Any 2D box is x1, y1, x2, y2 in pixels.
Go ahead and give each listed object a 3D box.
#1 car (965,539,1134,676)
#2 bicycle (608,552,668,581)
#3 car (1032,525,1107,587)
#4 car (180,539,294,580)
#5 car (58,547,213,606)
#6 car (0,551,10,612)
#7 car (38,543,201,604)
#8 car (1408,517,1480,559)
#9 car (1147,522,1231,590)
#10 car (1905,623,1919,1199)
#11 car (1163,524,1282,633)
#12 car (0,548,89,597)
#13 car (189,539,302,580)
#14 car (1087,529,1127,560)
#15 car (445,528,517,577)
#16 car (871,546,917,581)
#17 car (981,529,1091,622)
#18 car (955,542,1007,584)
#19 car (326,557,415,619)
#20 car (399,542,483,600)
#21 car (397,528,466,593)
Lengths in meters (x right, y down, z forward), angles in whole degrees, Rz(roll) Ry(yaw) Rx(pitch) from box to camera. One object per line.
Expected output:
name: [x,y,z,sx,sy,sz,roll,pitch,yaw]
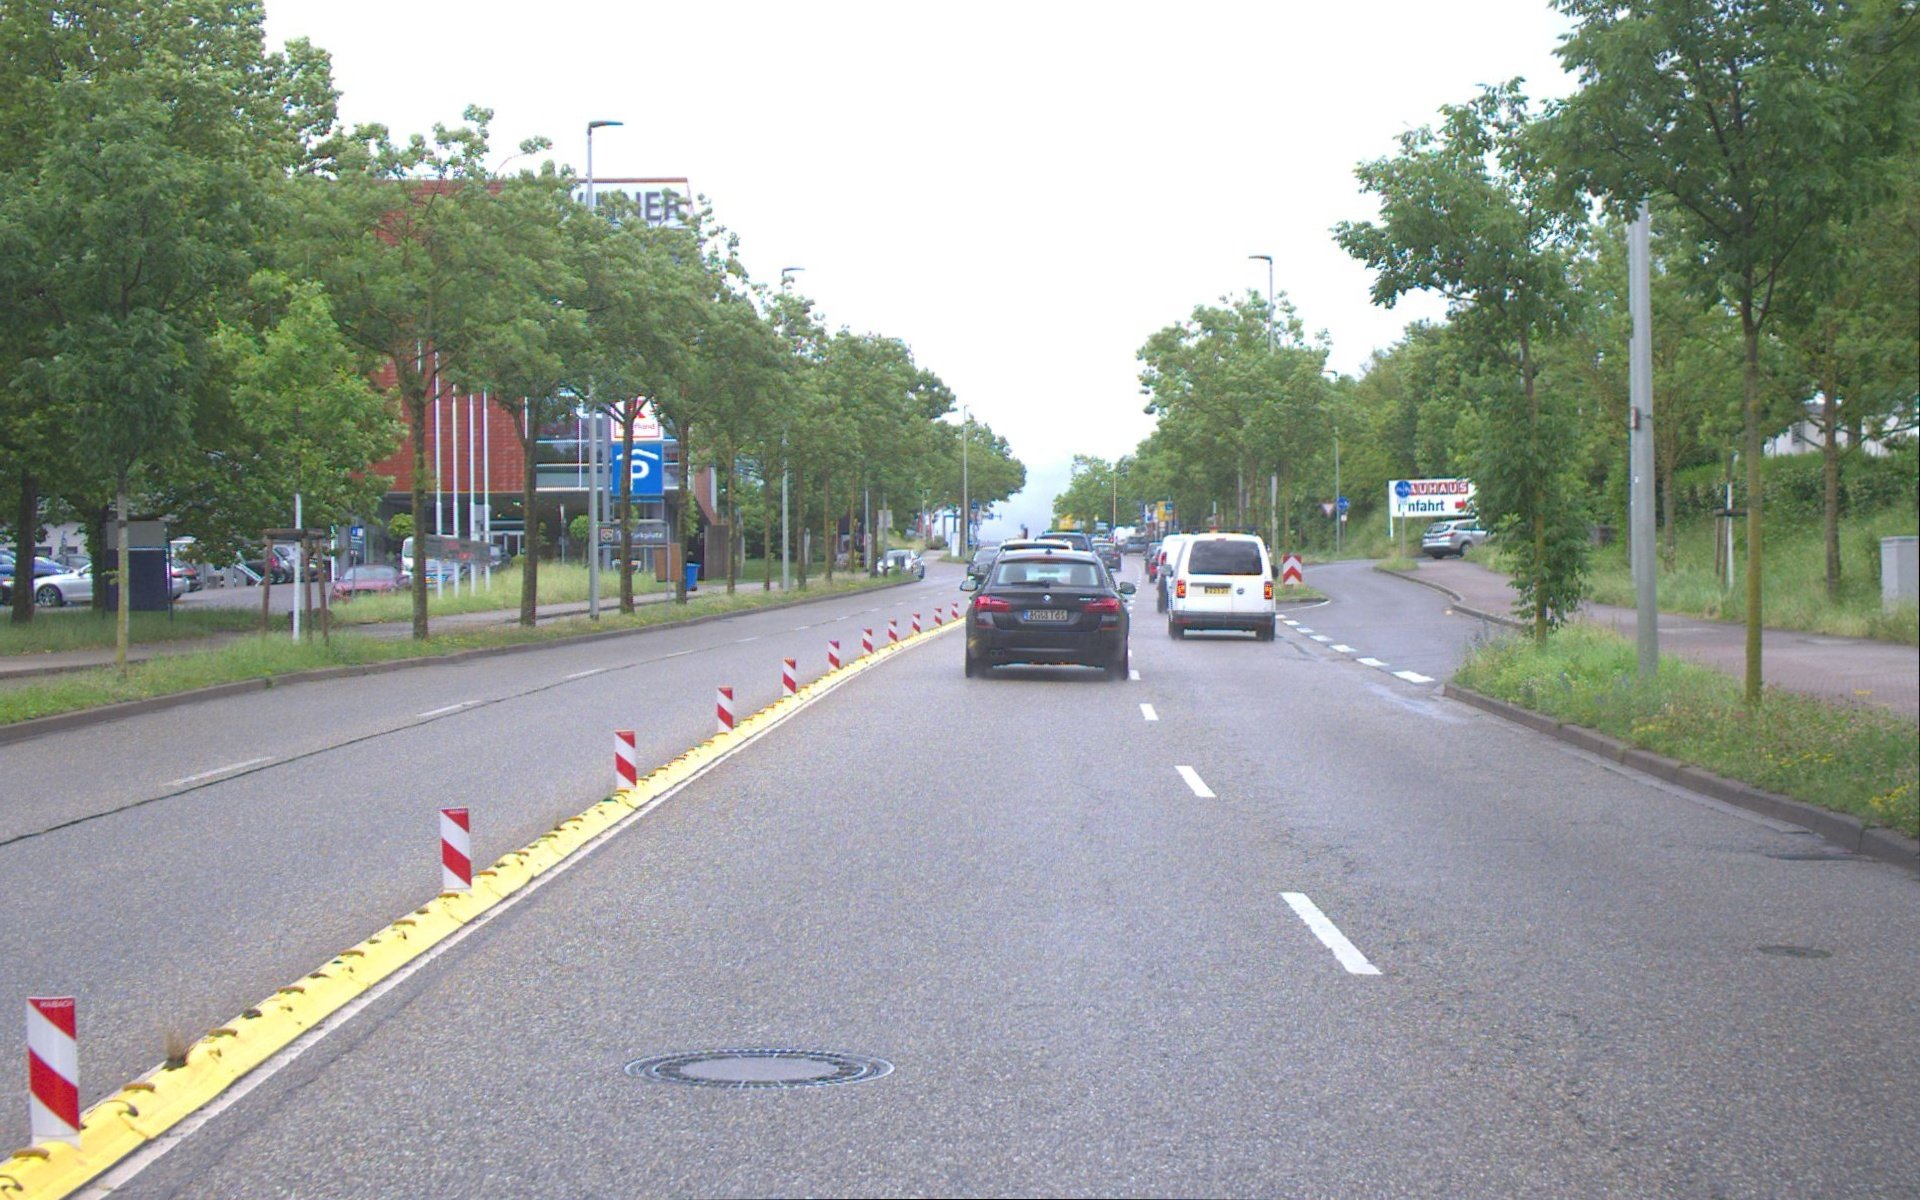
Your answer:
car: [1.041,0.052,39.826,1.827,1.463,4.000,1,1,2]
bicycle: [-12.457,-1.293,133.088,2.077,0.932,1.093,4,1,7]
car: [2.776,-1.106,87.612,1.794,1.505,4.000,2,0,1]
car: [-27.845,-1.567,132.500,4.108,1.505,1.819,1,2,-5]
car: [-25.853,-0.743,107.907,4.498,1.740,1.901,1,2,-5]
car: [-30.887,-0.582,102.716,4.597,1.740,2.134,0,2,-8]
car: [-25.652,-0.809,105.064,4.598,1.740,1.968,1,2,-5]
car: [19.144,-2.439,135.889,1.796,1.505,3.995,2,0,24]
car: [5.363,-1.011,80.750,1.794,1.505,4.000,2,0,2]
car: [3.022,0.681,5.594,1.685,1.575,4.219,1,1,-1]
car: [4.456,-0.403,58.926,1.827,1.753,4.000,2,1,2]
car: [-31.334,-0.927,113.760,4.609,1.505,2.026,1,2,-5]
car: [-27.986,-1.610,134.737,4.108,1.505,1.819,1,2,-5]
car: [7.573,-2.854,177.143,1.794,1.505,4.000,2,0,-1]
car: [-18.818,-1.885,135.291,2.138,1.767,4.608,1,2,1]
car: [-3.161,-1.760,164.756,1.867,1.547,4.575,-3,1,2]
car: [1.330,-0.425,59.297,1.794,1.505,4.000,2,0,2]
car: [0.782,-1.369,126.098,1.827,1.461,4.616,-1,1,1]
car: [-17.126,-0.367,99.989,1.932,1.603,4.712,1,2,-2]
car: [-17.237,-0.979,114.420,2.039,1.756,4.946,1,2,0]
car: [-18.453,-1.412,120.155,2.113,2.088,5.123,1,2,-6]
